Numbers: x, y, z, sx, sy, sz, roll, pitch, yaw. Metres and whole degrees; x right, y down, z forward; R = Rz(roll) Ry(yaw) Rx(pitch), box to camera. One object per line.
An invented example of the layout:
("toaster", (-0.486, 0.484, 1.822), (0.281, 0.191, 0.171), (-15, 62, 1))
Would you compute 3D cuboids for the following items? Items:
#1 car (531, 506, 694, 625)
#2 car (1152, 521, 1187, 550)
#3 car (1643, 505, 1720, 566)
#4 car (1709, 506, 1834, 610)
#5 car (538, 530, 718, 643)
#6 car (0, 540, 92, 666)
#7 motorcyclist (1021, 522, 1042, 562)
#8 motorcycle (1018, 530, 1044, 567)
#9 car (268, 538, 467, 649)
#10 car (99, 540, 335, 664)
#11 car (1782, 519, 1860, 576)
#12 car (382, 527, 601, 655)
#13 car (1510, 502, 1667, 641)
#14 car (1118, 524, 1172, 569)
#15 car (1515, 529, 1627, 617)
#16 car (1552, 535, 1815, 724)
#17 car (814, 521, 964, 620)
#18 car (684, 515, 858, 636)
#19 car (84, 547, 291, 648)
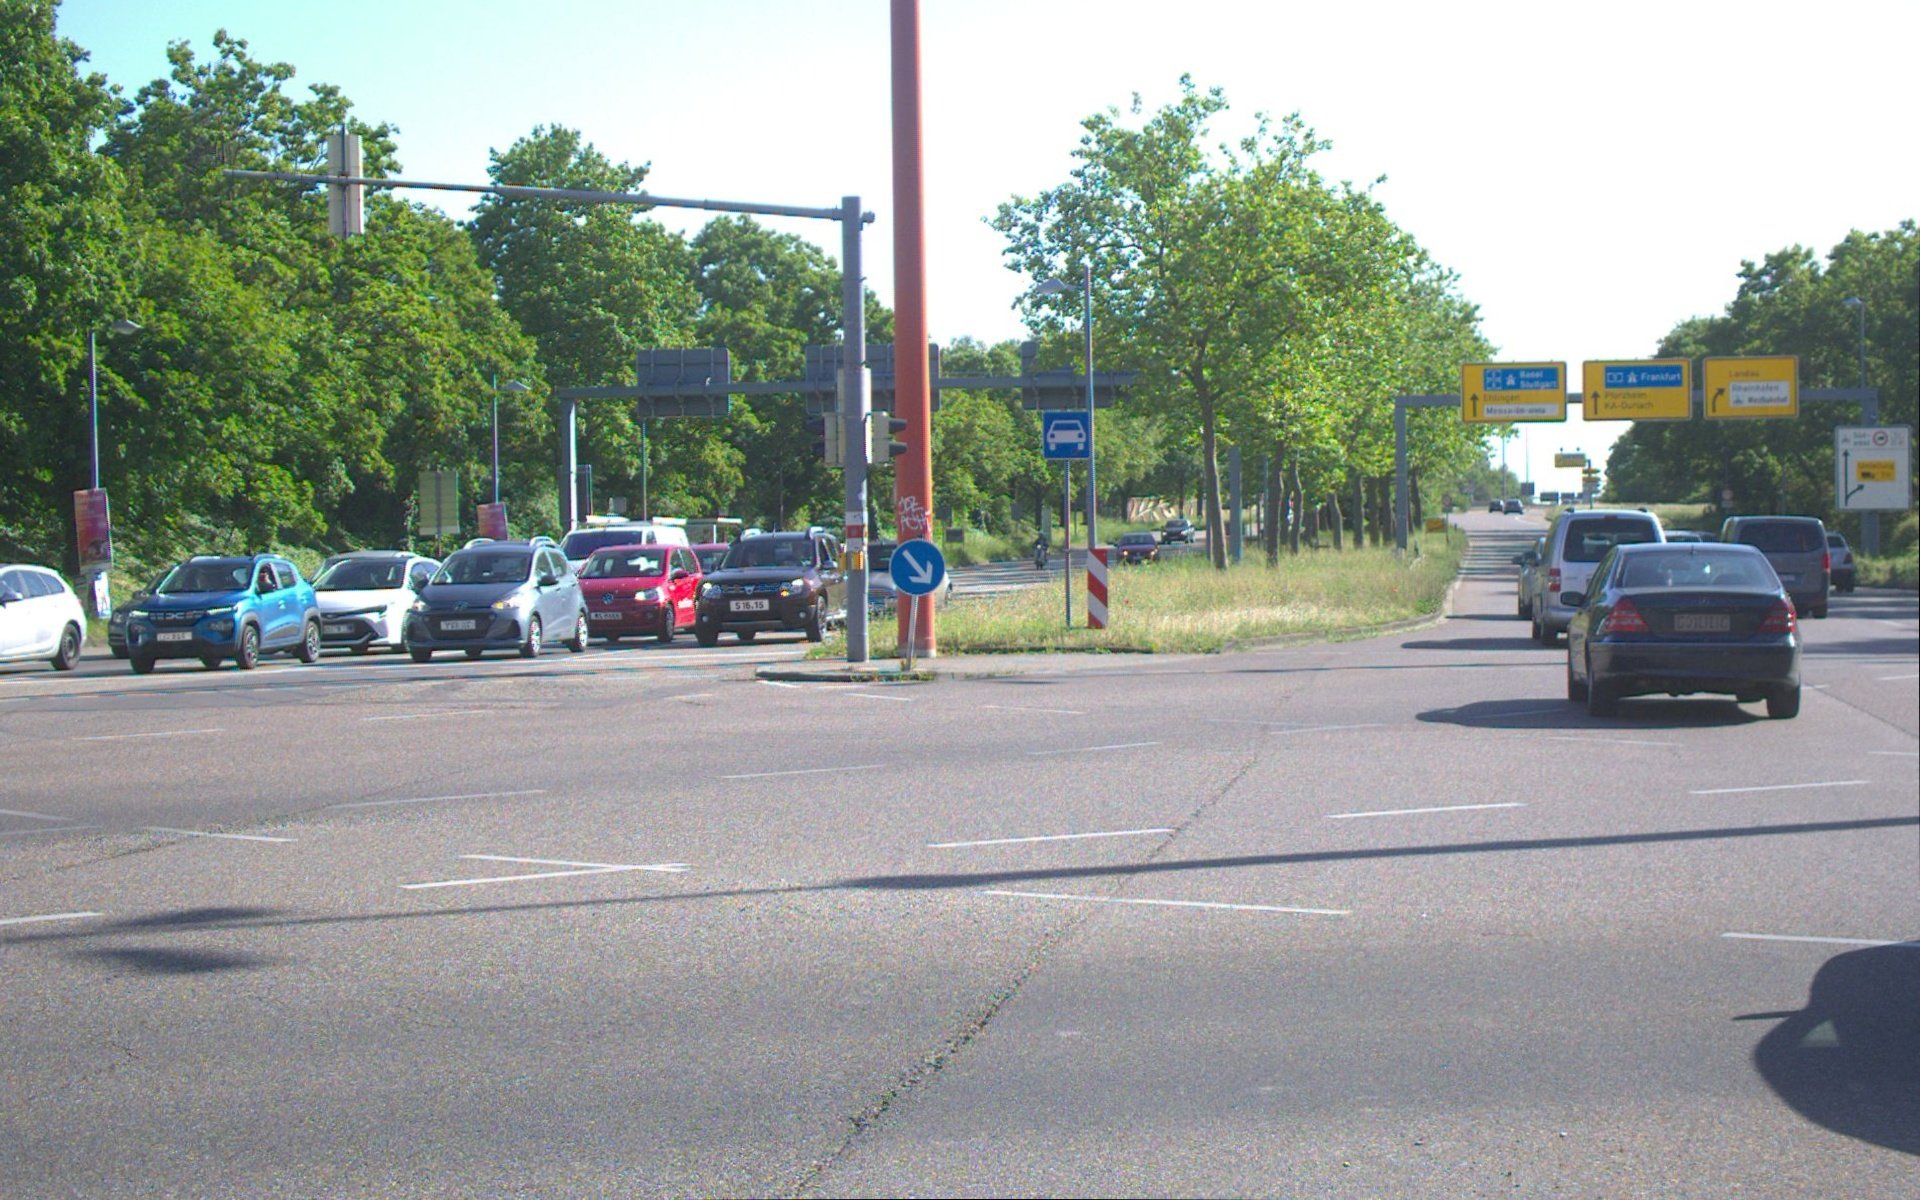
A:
("car", (-6.506, -0.675, 64.864), (1.962, 2.147, 5.080), (-1, 1, 7))
("car", (13.319, -4.110, 218.702), (1.916, 1.840, 3.960), (0, 1, 8))
("car", (19.530, -1.746, 93.173), (1.716, 1.602, 3.846), (1, 1, 8))
("car", (15.151, -0.814, 64.353), (1.805, 1.845, 5.101), (-1, 1, 8))
("car", (-5.008, -0.226, 52.342), (1.875, 1.547, 3.999), (-3, 1, 6))
("car", (-13.277, 0.050, 45.643), (1.877, 1.646, 4.217), (-1, 0, 9))
("motorcyclist", (3.148, -2.570, 151.638), (0.773, 1.732, 0.915), (1, 1, 8))
("motorcycle", (3.141, -2.264, 151.603), (0.759, 1.604, 2.866), (1, 1, 9))
("car", (-8.824, -0.127, 51.514), (1.901, 1.549, 3.999), (-1, 1, 6))
("car", (-9.760, -0.007, 45.437), (1.802, 1.510, 3.858), (-2, 1, 8))
("car", (23.161, -1.419, 92.584), (1.595, 1.486, 3.680), (1, 1, 8))
("car", (-6.224, -0.153, 46.114), (1.874, 1.545, 4.026), (-2, 1, 7))
("car", (8.628, -0.406, 47.501), (1.805, 1.815, 4.586), (0, 1, 6))
("car", (7.668, -2.234, 142.724), (1.915, 1.840, 3.961), (-1, 1, -2))
("car", (10.847, -0.498, 61.277), (1.805, 1.488, 4.681), (1, 1, 8))
("car", (6.045, 0.197, 29.104), (1.713, 1.449, 4.197), (-1, 1, 6))
("car", (-1.144, -0.514, 57.068), (1.886, 1.538, 3.999), (-2, 1, 7))
("car", (-2.688, -0.382, 49.735), (1.794, 1.620, 4.142), (-2, 1, 7))
("car", (-12.305, -0.068, 55.012), (1.885, 1.508, 3.999), (-1, 1, 8))
